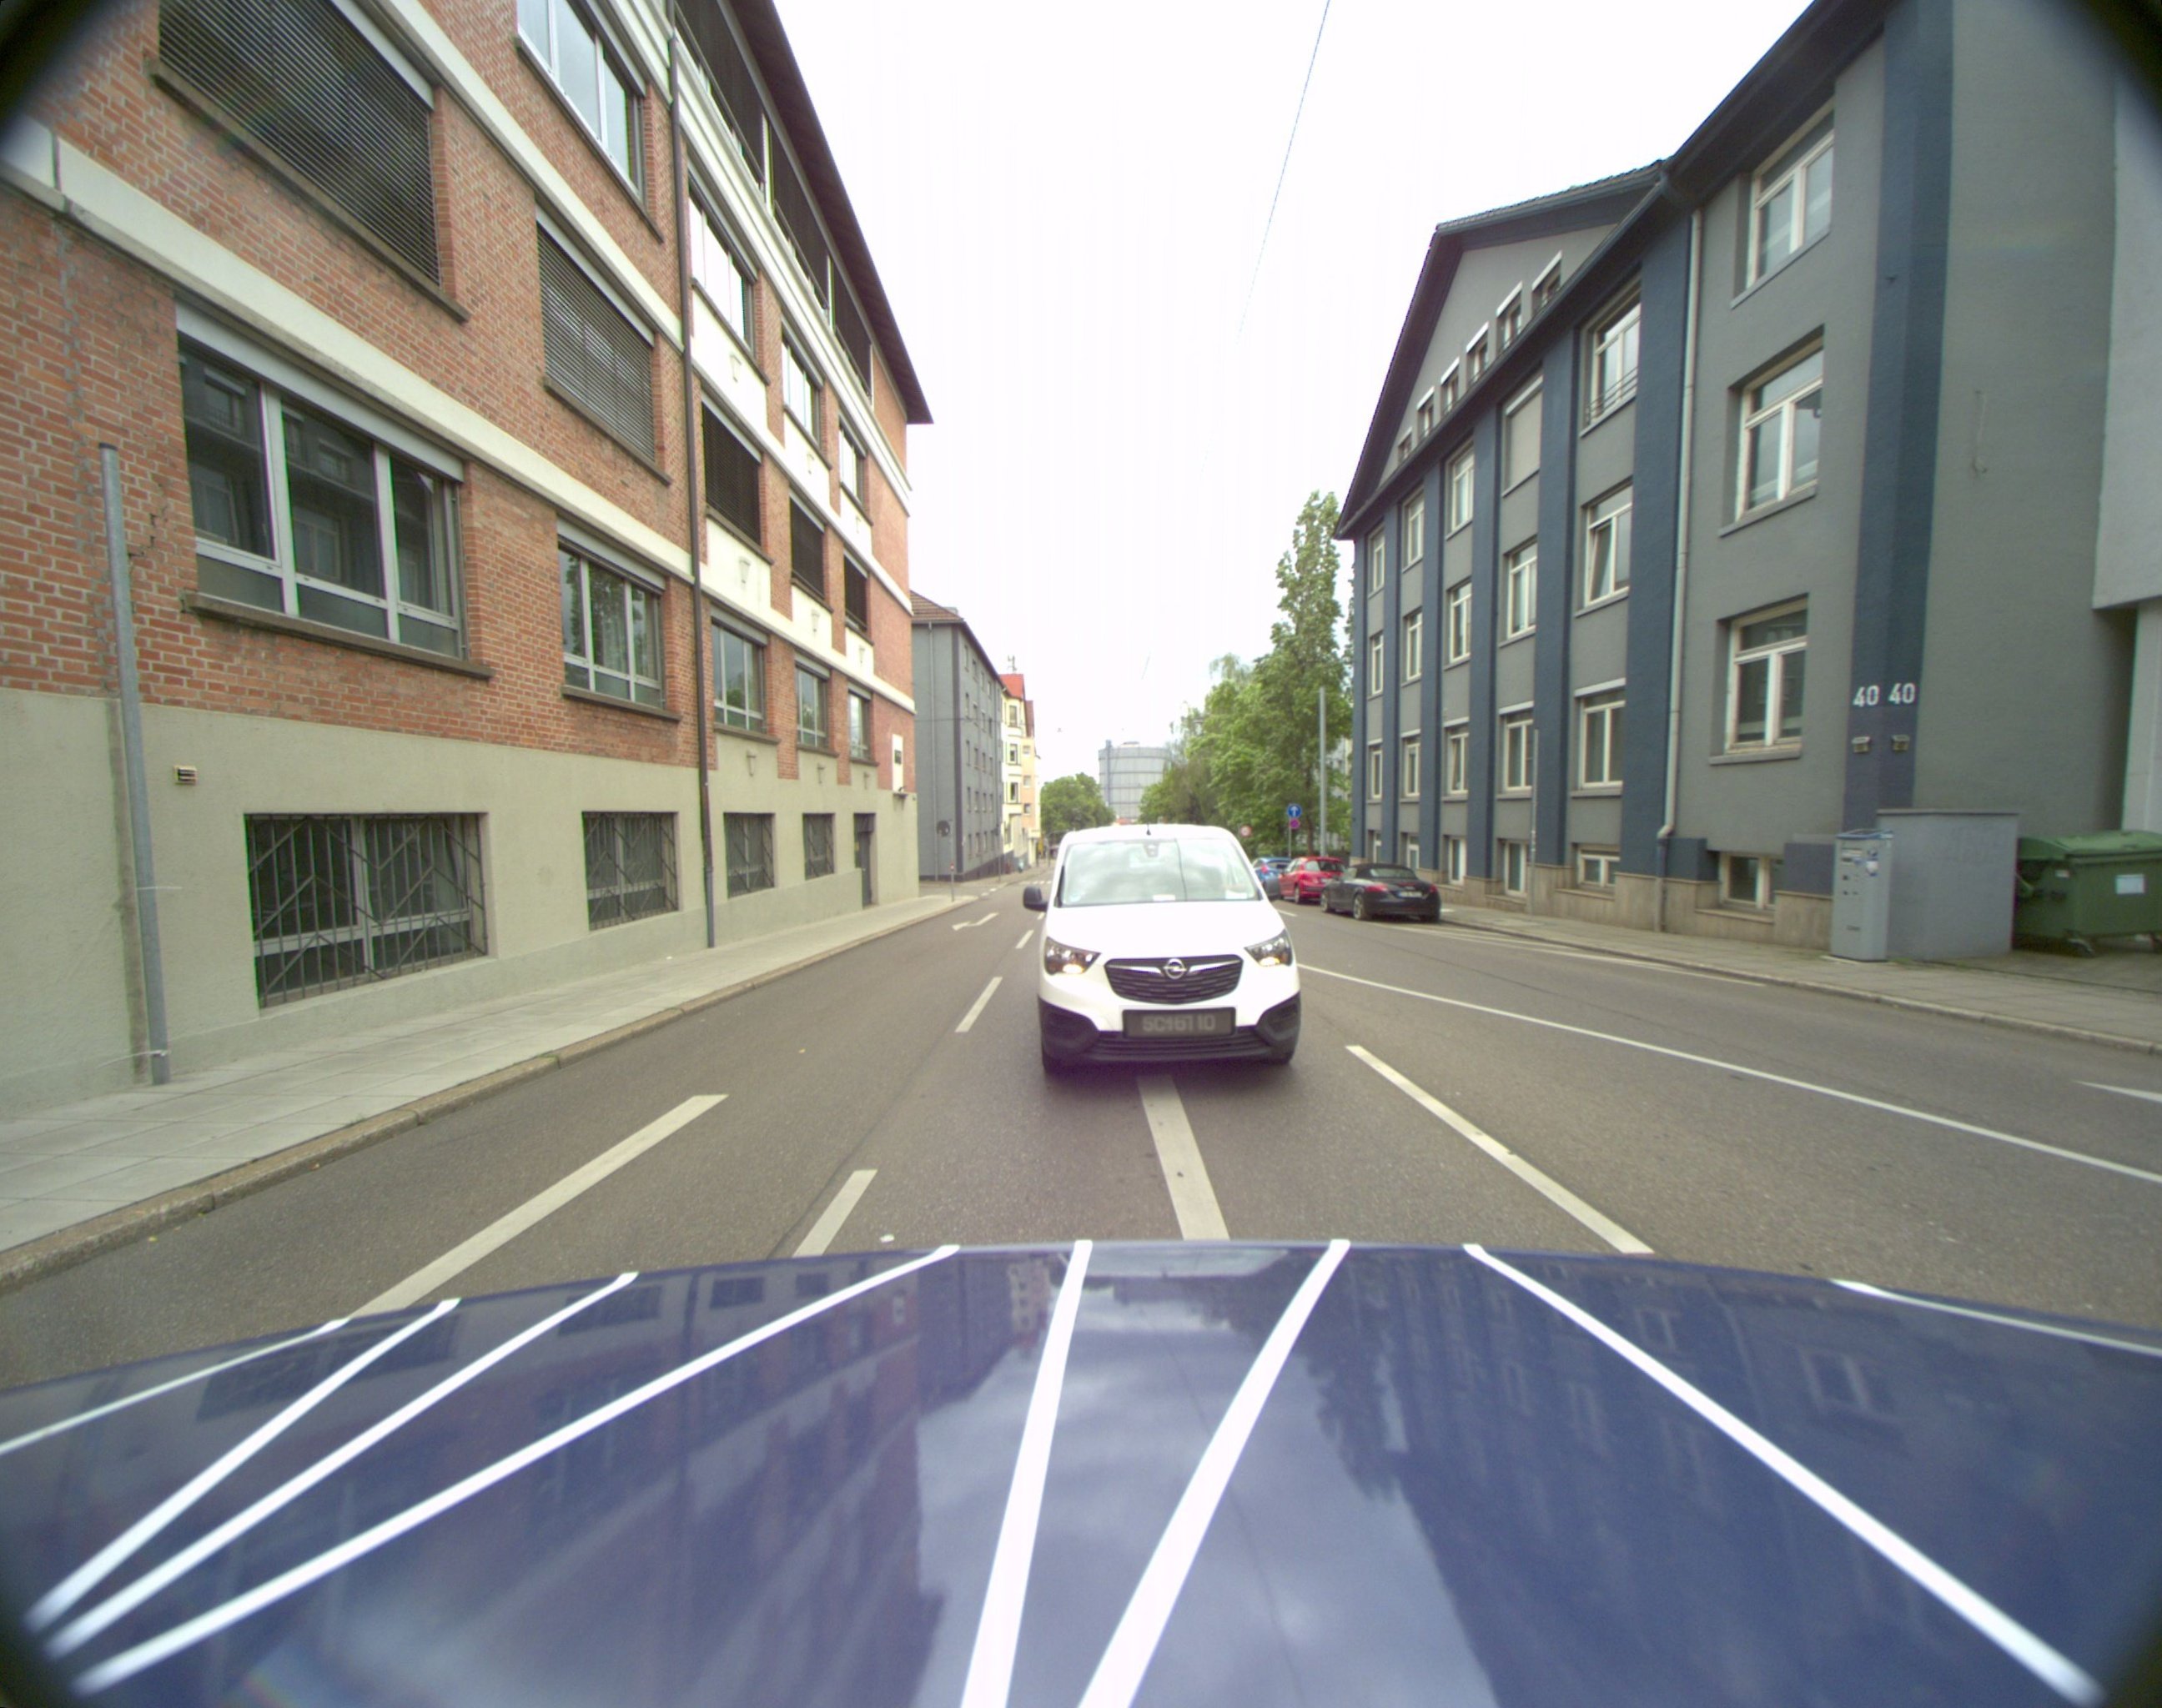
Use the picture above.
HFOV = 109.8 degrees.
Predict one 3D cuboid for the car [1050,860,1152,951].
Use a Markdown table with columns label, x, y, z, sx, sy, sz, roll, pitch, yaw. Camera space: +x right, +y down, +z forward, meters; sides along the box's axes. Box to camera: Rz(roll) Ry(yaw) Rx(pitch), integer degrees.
| label | x | y | z | sx | sy | sz | roll | pitch | yaw |
| --- | --- | --- | --- | --- | --- | --- | --- | --- | --- |
| car | 0.395 | 0.887 | 14.770 | 1.724 | 1.486 | 3.727 | 1 | 0 | 2 |

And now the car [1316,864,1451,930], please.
| label | x | y | z | sx | sy | sz | roll | pitch | yaw |
| --- | --- | --- | --- | --- | --- | --- | --- | --- | --- |
| car | 7.195 | 0.956 | 18.519 | 1.724 | 1.319 | 4.041 | 2 | 0 | 1 |

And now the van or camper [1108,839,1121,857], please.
| label | x | y | z | sx | sy | sz | roll | pitch | yaw |
| --- | --- | --- | --- | --- | --- | --- | --- | --- | --- |
| van or camper | 5.217 | -0.980 | 119.935 | 1.914 | 2.754 | 5.925 | 1 | 0 | 2 |

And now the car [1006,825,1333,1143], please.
| label | x | y | z | sx | sy | sz | roll | pitch | yaw |
| --- | --- | --- | --- | --- | --- | --- | --- | --- | --- |
| car | 0.564 | 0.756 | 6.917 | 1.840 | 1.797 | 4.939 | -2 | 0 | 1 |

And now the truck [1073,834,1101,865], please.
| label | x | y | z | sx | sy | sz | roll | pitch | yaw |
| --- | --- | --- | --- | --- | --- | --- | --- | --- | --- |
| truck | 0.730 | -0.528 | 89.851 | 2.980 | 3.394 | 9.358 | -2 | 0 | 1 |

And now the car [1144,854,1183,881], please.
| label | x | y | z | sx | sy | sz | roll | pitch | yaw |
| --- | --- | --- | --- | --- | --- | --- | --- | --- | --- |
| car | 4.681 | 0.718 | 43.531 | 1.790 | 1.410 | 4.670 | 2 | 0 | 1 |

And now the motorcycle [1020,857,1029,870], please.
| label | x | y | z | sx | sy | sz | roll | pitch | yaw |
| --- | --- | --- | --- | --- | --- | --- | --- | --- | --- |
| motorcycle | -5.056 | 0.871 | 68.455 | 0.566 | 1.105 | 1.653 | 4 | 0 | 2 |

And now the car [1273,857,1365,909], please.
| label | x | y | z | sx | sy | sz | roll | pitch | yaw |
| --- | --- | --- | --- | --- | --- | --- | --- | --- | --- |
| car | 7.521 | 0.859 | 24.350 | 1.819 | 1.465 | 3.869 | 2 | 0 | 2 |

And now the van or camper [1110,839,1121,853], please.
| label | x | y | z | sx | sy | sz | roll | pitch | yaw |
| --- | --- | --- | --- | --- | --- | --- | --- | --- | --- |
| van or camper | 6.766 | -1.506 | 149.784 | 1.914 | 2.754 | 5.925 | 1 | 0 | 2 |

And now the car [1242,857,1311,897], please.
| label | x | y | z | sx | sy | sz | roll | pitch | yaw |
| --- | --- | --- | --- | --- | --- | --- | --- | --- | --- |
| car | 7.571 | 0.843 | 29.774 | 1.724 | 1.445 | 3.727 | 1 | 0 | 0 |

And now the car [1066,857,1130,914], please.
| label | x | y | z | sx | sy | sz | roll | pitch | yaw |
| --- | --- | --- | --- | --- | --- | --- | --- | --- | --- |
| car | 0.524 | 0.868 | 22.557 | 1.724 | 1.486 | 3.727 | 1 | 0 | 2 |

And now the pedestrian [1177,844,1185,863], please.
| label | x | y | z | sx | sy | sz | roll | pitch | yaw |
| --- | --- | --- | --- | --- | --- | --- | --- | --- | --- |
| pedestrian | 10.139 | -0.050 | 77.019 | 0.746 | 1.839 | 0.776 | -1 | 1 | 2 |

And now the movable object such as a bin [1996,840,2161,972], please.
| label | x | y | z | sx | sy | sz | roll | pitch | yaw |
| --- | --- | --- | --- | --- | --- | --- | --- | --- | --- |
| movable object such as a bin | 12.098 | 0.597 | 9.100 | 1.267 | 1.448 | 0.784 | -3 | 2 | 4 |
